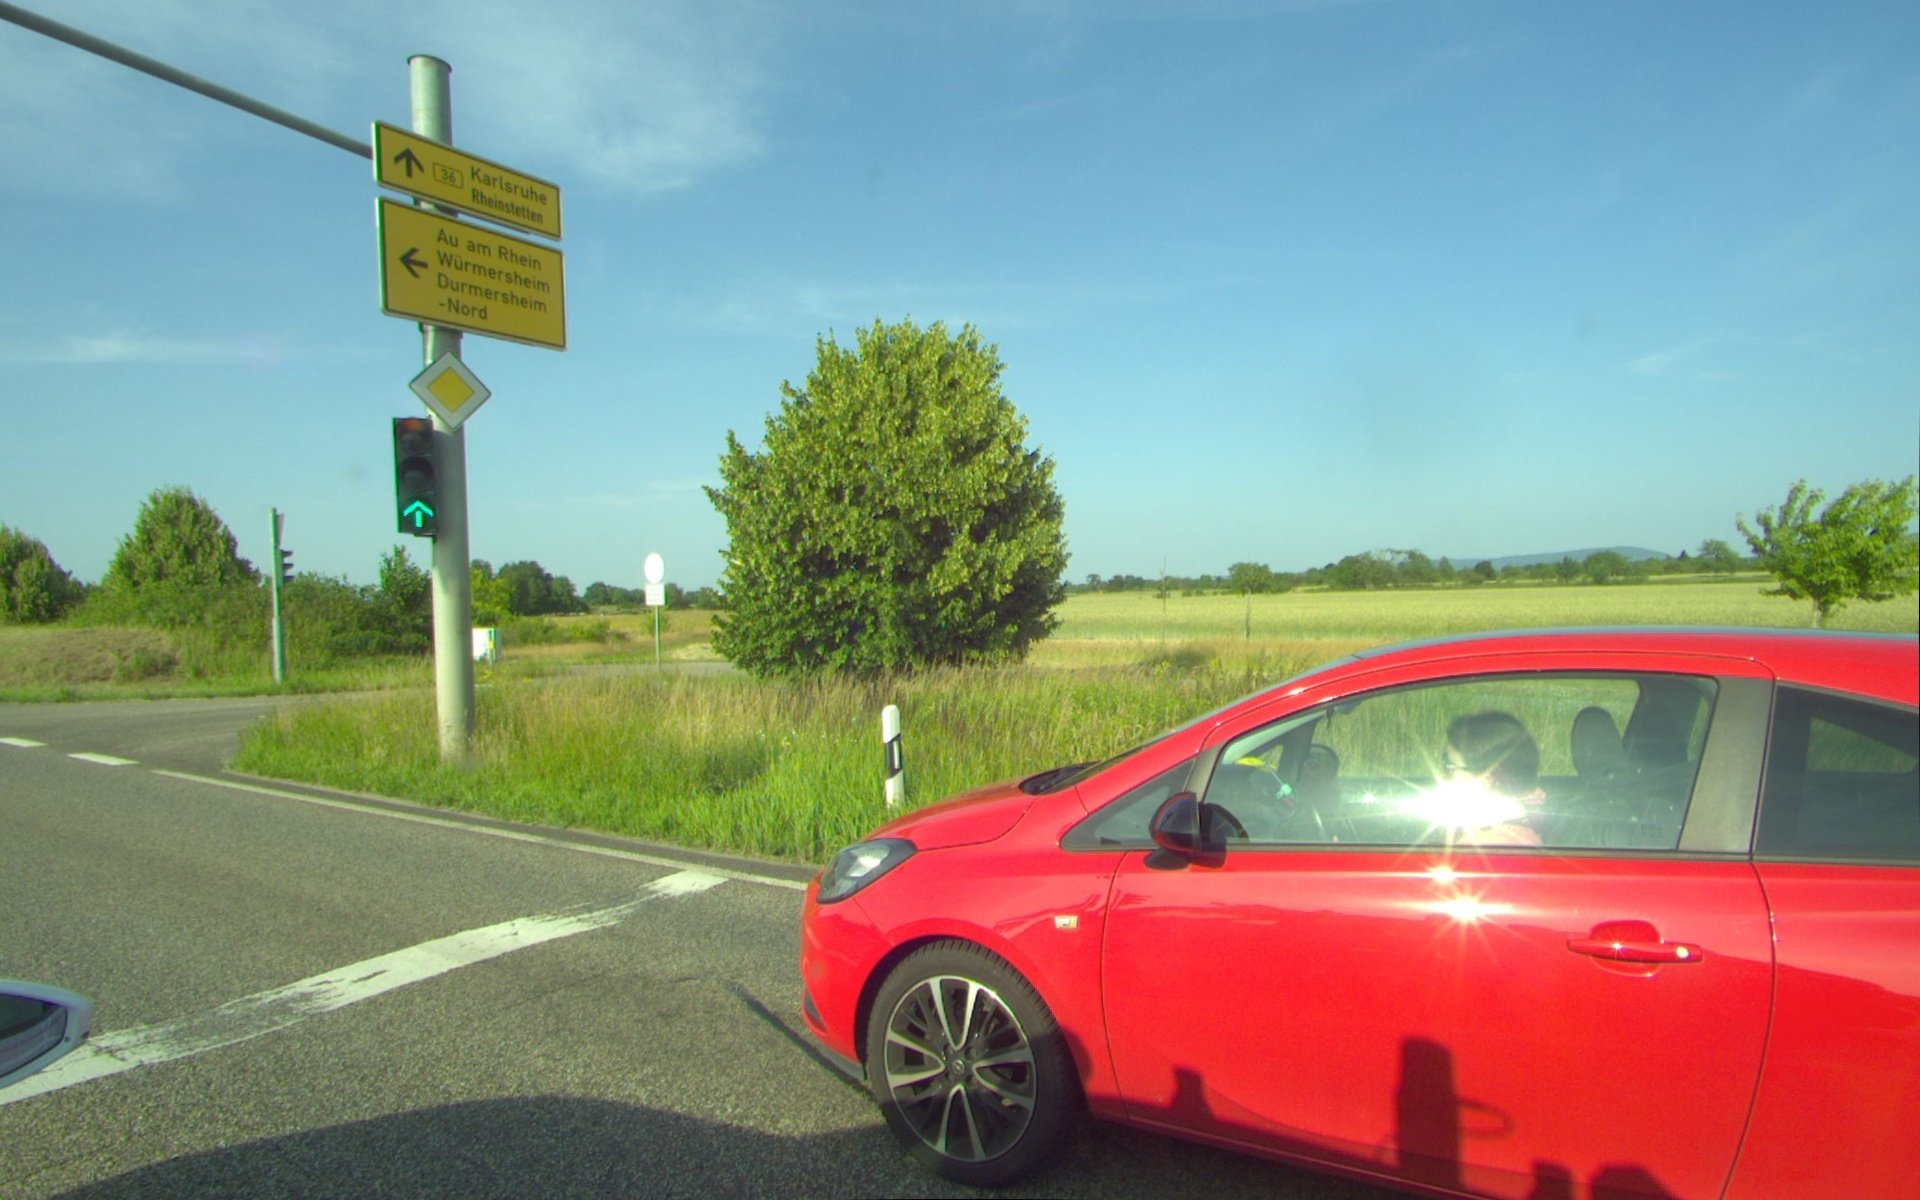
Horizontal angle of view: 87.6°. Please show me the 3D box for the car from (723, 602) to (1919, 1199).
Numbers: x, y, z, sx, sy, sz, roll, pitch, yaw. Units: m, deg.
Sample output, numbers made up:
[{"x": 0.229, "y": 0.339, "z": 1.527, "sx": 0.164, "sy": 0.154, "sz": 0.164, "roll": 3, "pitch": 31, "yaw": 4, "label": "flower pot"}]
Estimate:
[{"x": 1.316, "y": 0.805, "z": 2.829, "sx": 3.693, "sy": 1.569, "sz": 1.695, "roll": -1, "pitch": 0, "yaw": 29, "label": "car"}]
